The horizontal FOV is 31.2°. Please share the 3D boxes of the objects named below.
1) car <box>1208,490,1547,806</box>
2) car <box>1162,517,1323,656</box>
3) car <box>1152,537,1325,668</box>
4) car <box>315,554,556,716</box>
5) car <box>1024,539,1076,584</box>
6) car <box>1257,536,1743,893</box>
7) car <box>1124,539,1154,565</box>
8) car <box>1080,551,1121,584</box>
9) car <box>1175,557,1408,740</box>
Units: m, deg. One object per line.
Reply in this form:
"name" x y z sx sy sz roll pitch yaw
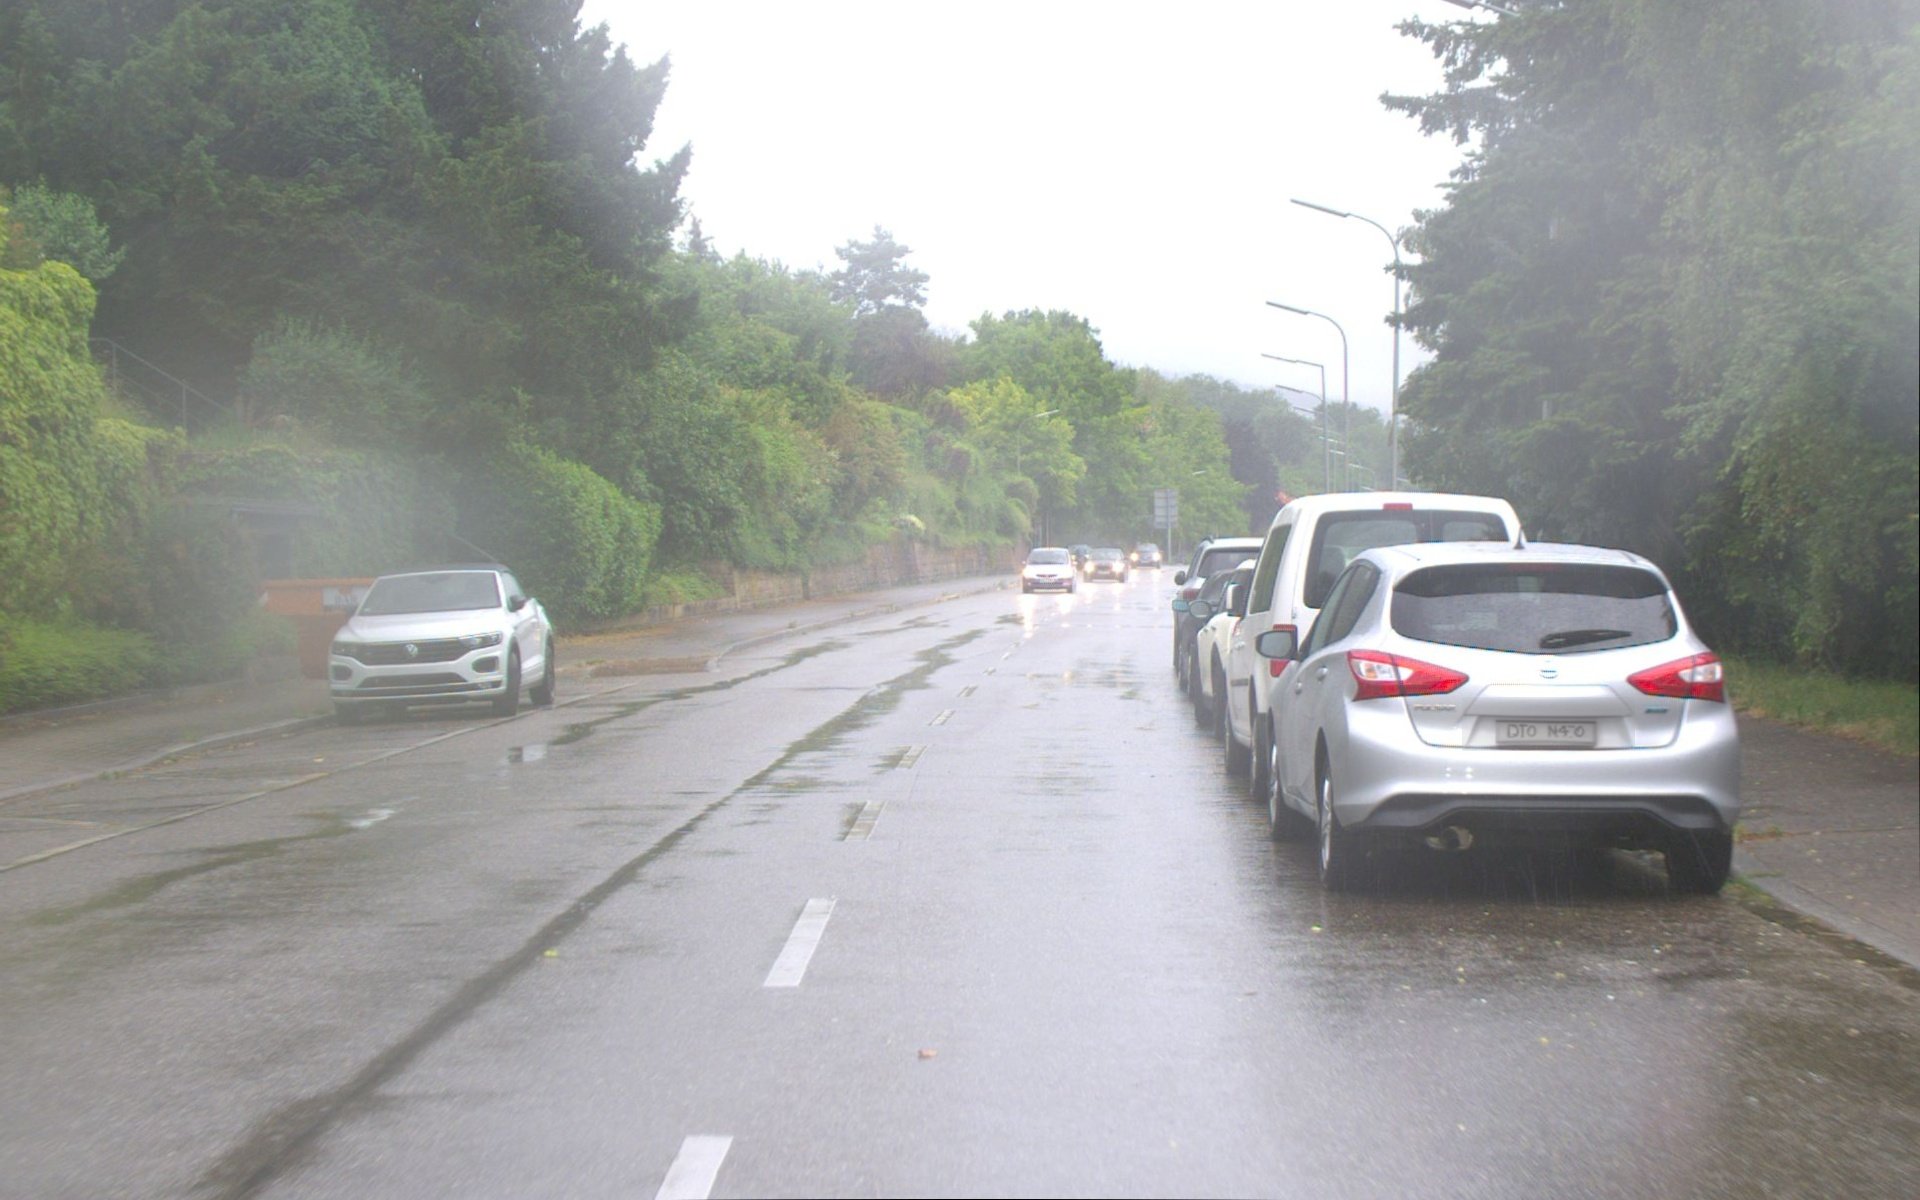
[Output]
"car" 2.528 0.261 21.700 1.784 1.784 4.361 0 0 3
"car" 3.460 -0.168 42.751 1.815 1.640 4.395 0 0 3
"car" 2.861 0.016 35.986 1.631 1.277 4.447 0 0 3
"car" -5.216 0.324 34.687 1.756 1.492 4.220 -1 0 0
"car" 2.987 -1.276 114.946 1.662 1.456 3.662 0 0 0
"car" 2.398 0.457 16.248 1.789 1.455 4.308 0 0 3
"car" 10.561 -2.821 202.945 1.760 1.491 4.127 0 0 3
"car" 5.857 -1.362 143.040 1.654 1.347 3.987 0 0 3
"car" 2.685 0.364 28.625 1.709 1.398 4.203 0 0 3
